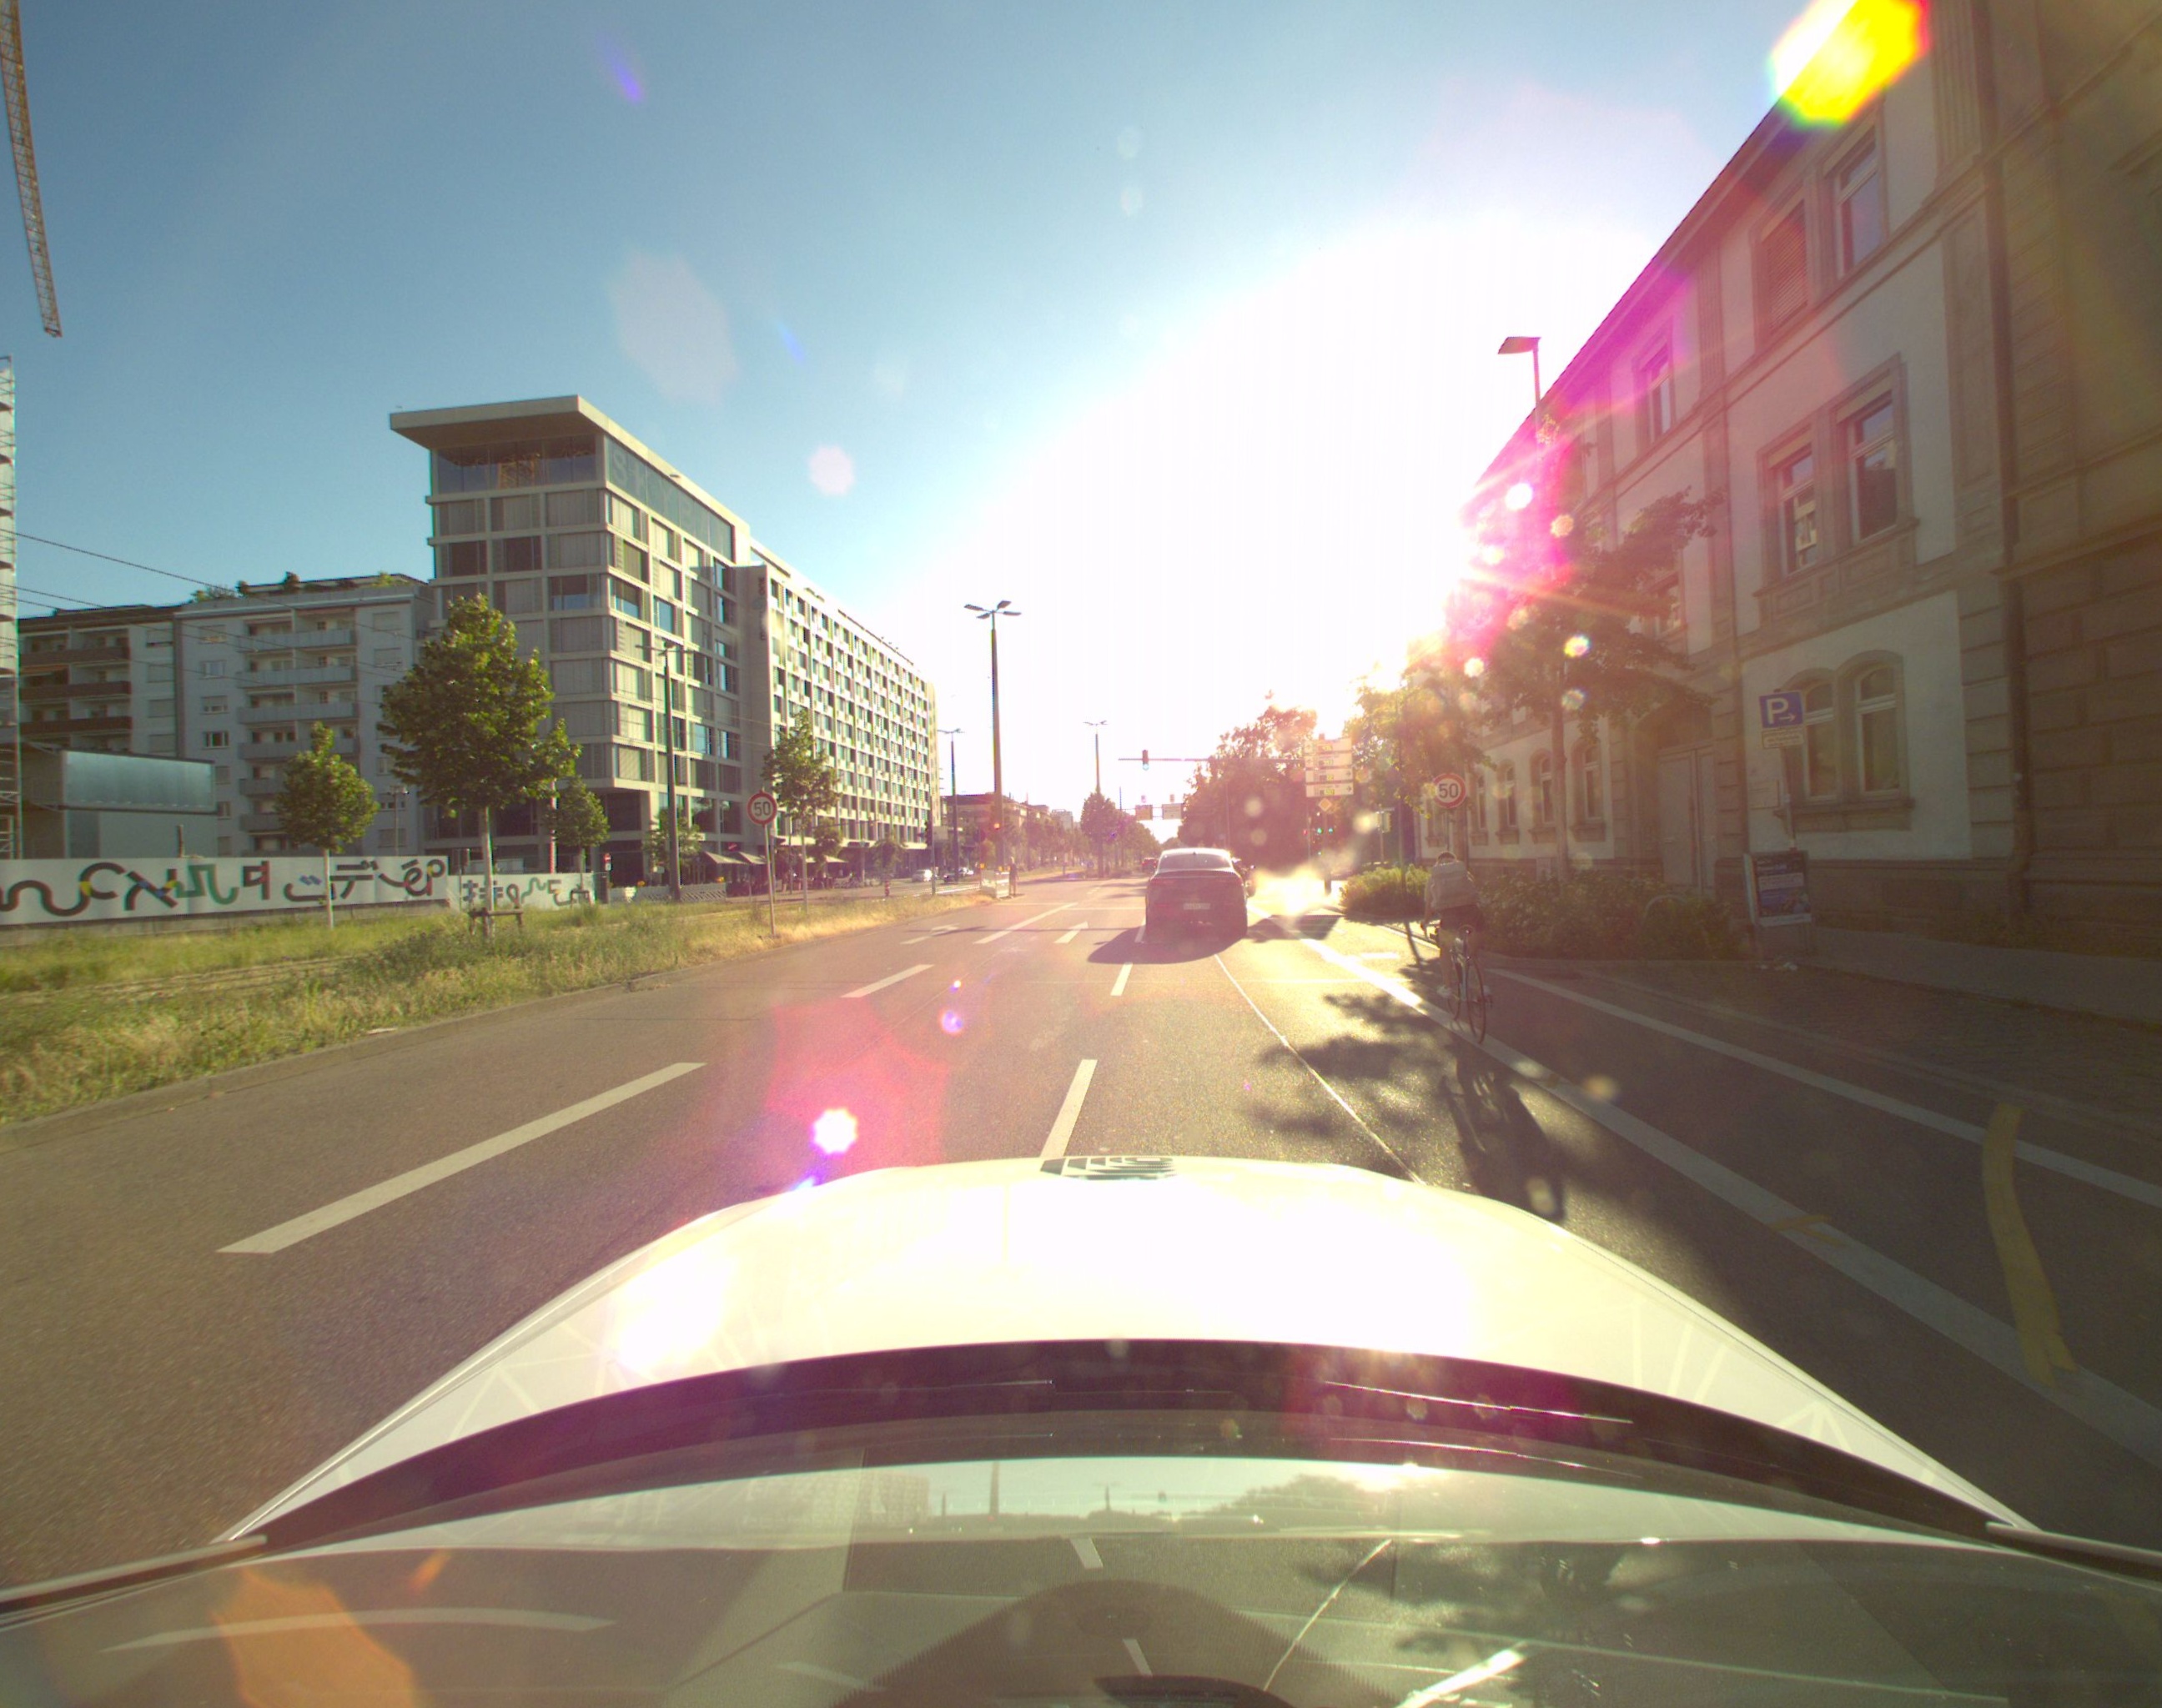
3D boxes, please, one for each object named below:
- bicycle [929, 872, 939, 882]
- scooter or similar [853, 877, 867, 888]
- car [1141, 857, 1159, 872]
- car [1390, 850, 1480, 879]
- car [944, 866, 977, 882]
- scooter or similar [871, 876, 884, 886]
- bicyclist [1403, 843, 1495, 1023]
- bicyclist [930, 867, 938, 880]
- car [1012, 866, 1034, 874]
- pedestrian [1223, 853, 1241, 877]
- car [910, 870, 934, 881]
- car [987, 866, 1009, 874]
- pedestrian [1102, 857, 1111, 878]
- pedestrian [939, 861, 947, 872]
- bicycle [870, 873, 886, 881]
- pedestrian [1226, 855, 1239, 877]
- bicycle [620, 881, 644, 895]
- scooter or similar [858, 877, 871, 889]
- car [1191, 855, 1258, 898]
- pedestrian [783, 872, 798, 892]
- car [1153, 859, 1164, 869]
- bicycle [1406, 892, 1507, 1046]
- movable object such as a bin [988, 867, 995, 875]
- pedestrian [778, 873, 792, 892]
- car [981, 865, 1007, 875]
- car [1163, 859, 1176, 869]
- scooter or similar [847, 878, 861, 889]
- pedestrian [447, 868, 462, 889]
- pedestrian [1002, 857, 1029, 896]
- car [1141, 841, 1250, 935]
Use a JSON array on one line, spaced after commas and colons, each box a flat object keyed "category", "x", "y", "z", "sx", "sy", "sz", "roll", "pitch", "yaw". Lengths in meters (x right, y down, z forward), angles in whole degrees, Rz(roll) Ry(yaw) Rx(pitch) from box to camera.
[{"category": "bicycle", "x": -17.722, "y": 2.748, "z": 98.208, "sx": 0.621, "sy": 1.067, "sz": 2.082, "roll": -2, "pitch": -1, "yaw": 8}, {"category": "scooter or similar", "x": -21.918, "y": 2.808, "z": 80.762, "sx": 1.236, "sy": 1.019, "sz": 0.436, "roll": -3, "pitch": -1, "yaw": 7}, {"category": "car", "x": 8.126, "y": 1.208, "z": 95.621, "sx": 1.876, "sy": 1.580, "sz": 4.007, "roll": -1, "pitch": 0, "yaw": 6}, {"category": "car", "x": 20.590, "y": 0.624, "z": 47.452, "sx": 4.542, "sy": 1.474, "sz": 1.915, "roll": -3, "pitch": -1, "yaw": 31}, {"category": "car", "x": -11.567, "y": 1.918, "z": 78.344, "sx": 1.881, "sy": 1.343, "sz": 4.859, "roll": -2, "pitch": -1, "yaw": 6}, {"category": "scooter or similar", "x": -21.280, "y": 2.828, "z": 85.272, "sx": 1.236, "sy": 1.019, "sz": 0.436, "roll": -3, "pitch": -1, "yaw": 7}, {"category": "bicyclist", "x": 3.276, "y": 0.660, "z": 7.330, "sx": 0.548, "sy": 1.491, "sz": 1.086, "roll": -2, "pitch": 0, "yaw": 16}, {"category": "bicyclist", "x": -17.736, "y": 2.329, "z": 98.228, "sx": 0.621, "sy": 1.465, "sz": 0.853, "roll": -2, "pitch": -1, "yaw": 7}, {"category": "car", "x": -11.955, "y": 3.216, "z": 167.997, "sx": 4.017, "sy": 1.563, "sz": 1.978, "roll": -1, "pitch": -1, "yaw": -35}, {"category": "pedestrian", "x": 11.979, "y": 0.876, "z": 64.616, "sx": 0.861, "sy": 1.802, "sz": 0.899, "roll": -4, "pitch": -1, "yaw": -28}, {"category": "car", "x": -19.626, "y": 2.621, "z": 100.490, "sx": 1.747, "sy": 1.328, "sz": 4.008, "roll": -1, "pitch": 0, "yaw": 7}, {"category": "car", "x": -14.597, "y": 2.820, "z": 143.324, "sx": 3.640, "sy": 1.523, "sz": 1.603, "roll": 0, "pitch": -1, "yaw": -34}, {"category": "pedestrian", "x": 2.091, "y": 1.083, "z": 66.240, "sx": 0.594, "sy": 1.699, "sz": 0.716, "roll": -2, "pitch": -1, "yaw": 12}, {"category": "pedestrian", "x": -21.536, "y": 2.009, "z": 127.261, "sx": 0.838, "sy": 1.653, "sz": 0.972, "roll": -2, "pitch": -1, "yaw": 8}, {"category": "bicycle", "x": -26.291, "y": 2.947, "z": 105.503, "sx": 1.798, "sy": 0.905, "sz": 0.512, "roll": -2, "pitch": -1, "yaw": 0}, {"category": "pedestrian", "x": 11.848, "y": 0.929, "z": 63.588, "sx": 0.764, "sy": 1.636, "sz": 0.769, "roll": -4, "pitch": -1, "yaw": -3}, {"category": "bicycle", "x": -33.658, "y": 2.555, "z": 61.114, "sx": 0.533, "sy": 0.936, "sz": 1.904, "roll": -2, "pitch": -1, "yaw": 6}, {"category": "scooter or similar", "x": -21.995, "y": 2.934, "z": 82.690, "sx": 1.236, "sy": 1.172, "sz": 0.407, "roll": -3, "pitch": -1, "yaw": 7}, {"category": "car", "x": 5.625, "y": 0.834, "z": 31.528, "sx": 1.881, "sy": 1.527, "sz": 4.078, "roll": -2, "pitch": 0, "yaw": 19}, {"category": "pedestrian", "x": -26.463, "y": 2.564, "z": 74.224, "sx": 0.862, "sy": 1.721, "sz": 0.807, "roll": -2, "pitch": -1, "yaw": 16}, {"category": "car", "x": 13.367, "y": 1.678, "z": 140.457, "sx": 1.876, "sy": 1.580, "sz": 4.007, "roll": -1, "pitch": 0, "yaw": 6}, {"category": "bicycle", "x": 3.315, "y": 0.950, "z": 7.322, "sx": 0.516, "sy": 1.097, "sz": 1.850, "roll": -2, "pitch": 0, "yaw": 16}, {"category": "movable object such as a bin", "x": -14.763, "y": 2.822, "z": 134.461, "sx": 0.850, "sy": 1.280, "sz": 0.944, "roll": -2, "pitch": -1, "yaw": 21}, {"category": "pedestrian", "x": -26.670, "y": 2.561, "z": 73.332, "sx": 0.862, "sy": 1.721, "sz": 0.807, "roll": -2, "pitch": -1, "yaw": 16}, {"category": "car", "x": -14.968, "y": 2.780, "z": 139.871, "sx": 4.112, "sy": 1.601, "sz": 1.731, "roll": 1, "pitch": 0, "yaw": -34}, {"category": "car", "x": 14.248, "y": 1.608, "z": 131.041, "sx": 1.876, "sy": 1.580, "sz": 4.007, "roll": -1, "pitch": 0, "yaw": 6}, {"category": "scooter or similar", "x": -22.078, "y": 2.888, "z": 79.240, "sx": 1.236, "sy": 1.019, "sz": 0.512, "roll": -3, "pitch": -1, "yaw": 7}, {"category": "pedestrian", "x": -46.962, "y": 1.845, "z": 61.060, "sx": 0.583, "sy": 1.498, "sz": 0.578, "roll": -2, "pitch": -1, "yaw": 6}, {"category": "pedestrian", "x": -2.873, "y": 0.989, "z": 35.844, "sx": 0.917, "sy": 1.649, "sz": 0.769, "roll": -2, "pitch": -1, "yaw": 19}, {"category": "car", "x": 2.471, "y": 0.623, "z": 17.211, "sx": 1.981, "sy": 1.734, "sz": 4.011, "roll": -1, "pitch": 0, "yaw": 10}]
